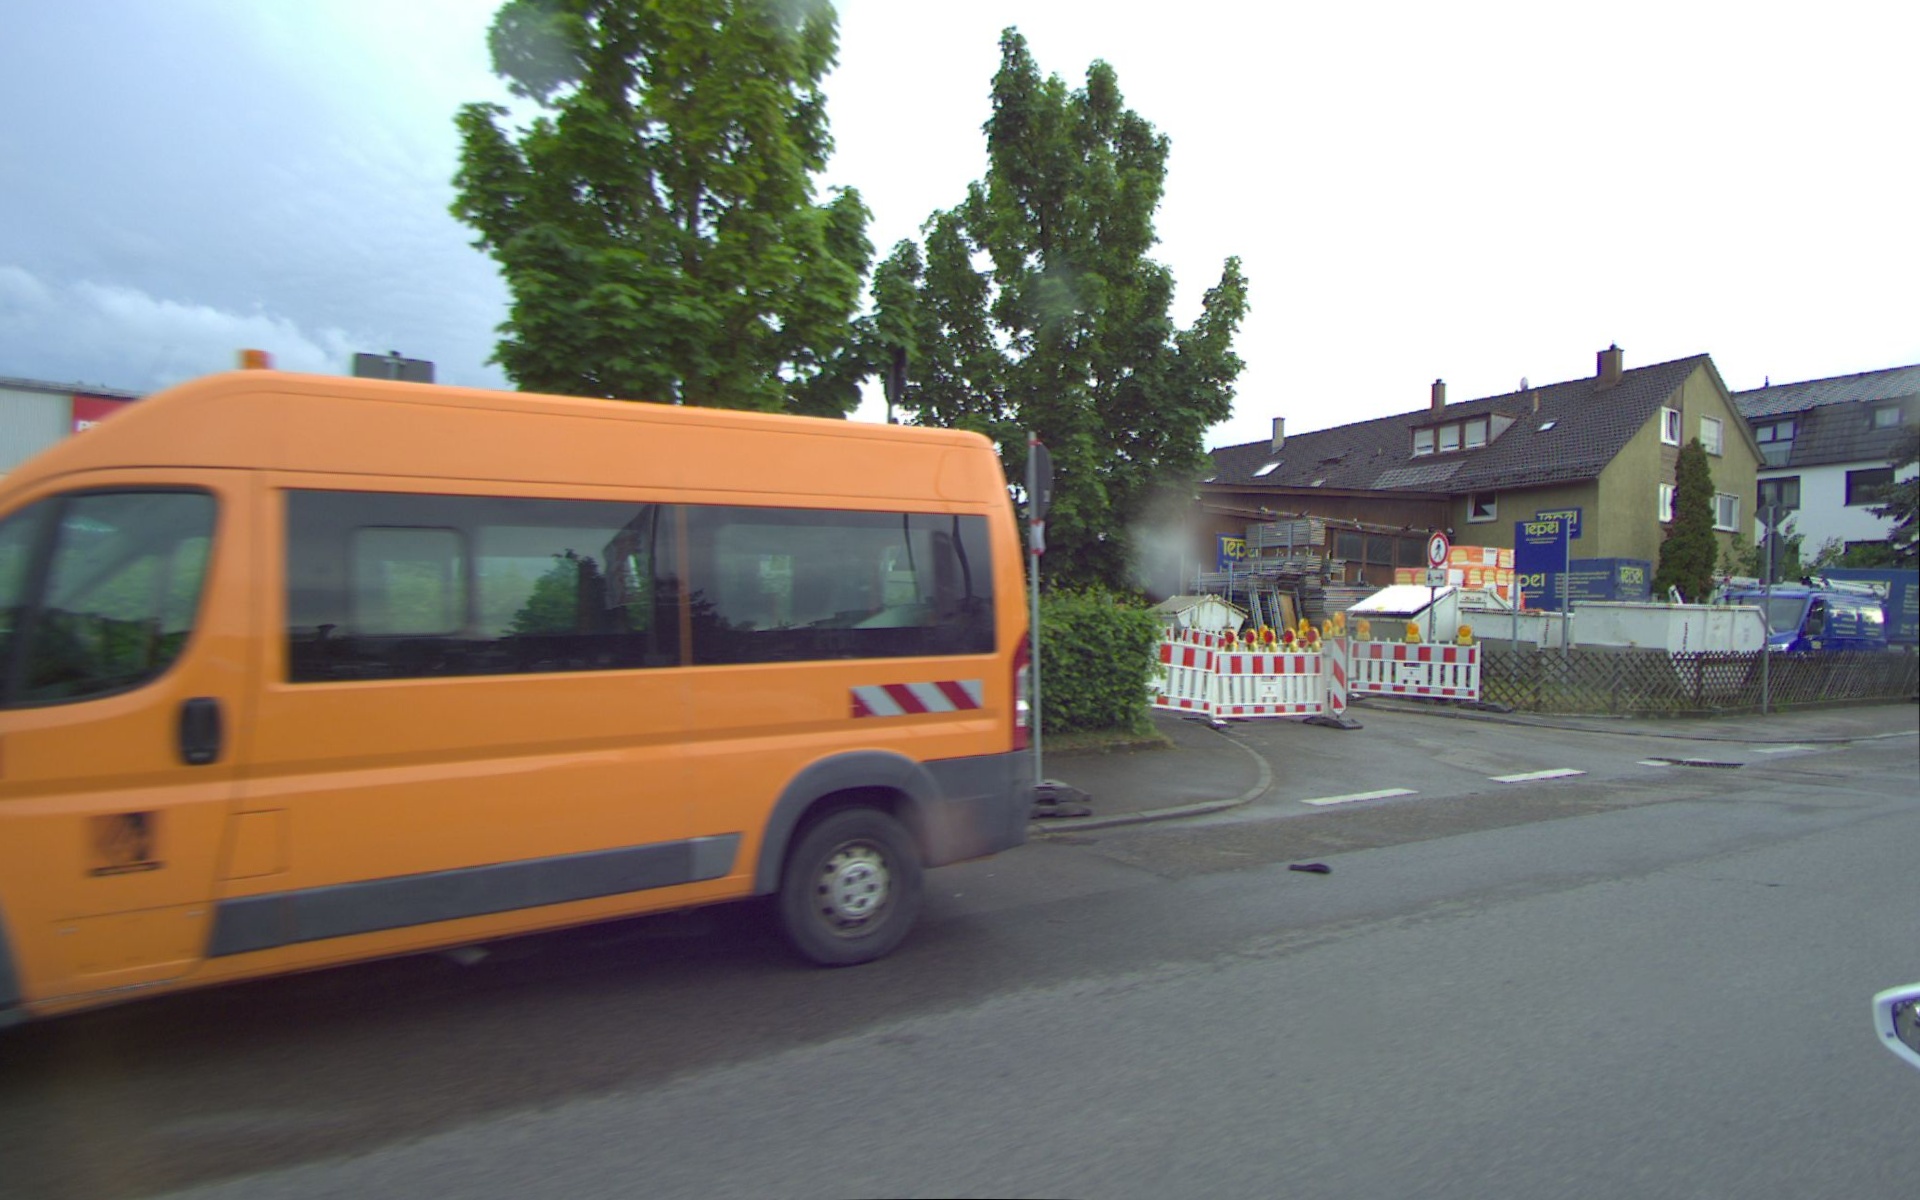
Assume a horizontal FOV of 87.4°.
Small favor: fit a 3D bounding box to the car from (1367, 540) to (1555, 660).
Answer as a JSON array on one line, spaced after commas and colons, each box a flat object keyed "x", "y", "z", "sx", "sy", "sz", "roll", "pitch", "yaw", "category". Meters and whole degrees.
[{"x": 13.972, "y": 0.056, "z": 27.939, "sx": 5.181, "sy": 3.053, "sz": 2.066, "roll": 2, "pitch": 0, "yaw": -30, "category": "car"}]

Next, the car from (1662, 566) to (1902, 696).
[{"x": 18.551, "y": 0.709, "z": 22.569, "sx": 6.128, "sy": 2.601, "sz": 2.066, "roll": 2, "pitch": 0, "yaw": -30, "category": "car"}]

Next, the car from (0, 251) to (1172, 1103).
[{"x": -1.946, "y": 0.282, "z": 4.822, "sx": 5.951, "sy": 2.571, "sz": 2.114, "roll": 1, "pitch": -1, "yaw": -30, "category": "car"}]

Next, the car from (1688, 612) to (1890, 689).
[{"x": 21.649, "y": 1.273, "z": 26.383, "sx": 1.756, "sy": 1.773, "sz": 3.694, "roll": 2, "pitch": 0, "yaw": -28, "category": "car"}]

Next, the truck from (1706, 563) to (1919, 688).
[{"x": 24.263, "y": 0.650, "z": 27.310, "sx": 2.420, "sy": 3.114, "sz": 5.886, "roll": 2, "pitch": 0, "yaw": -29, "category": "truck"}]
